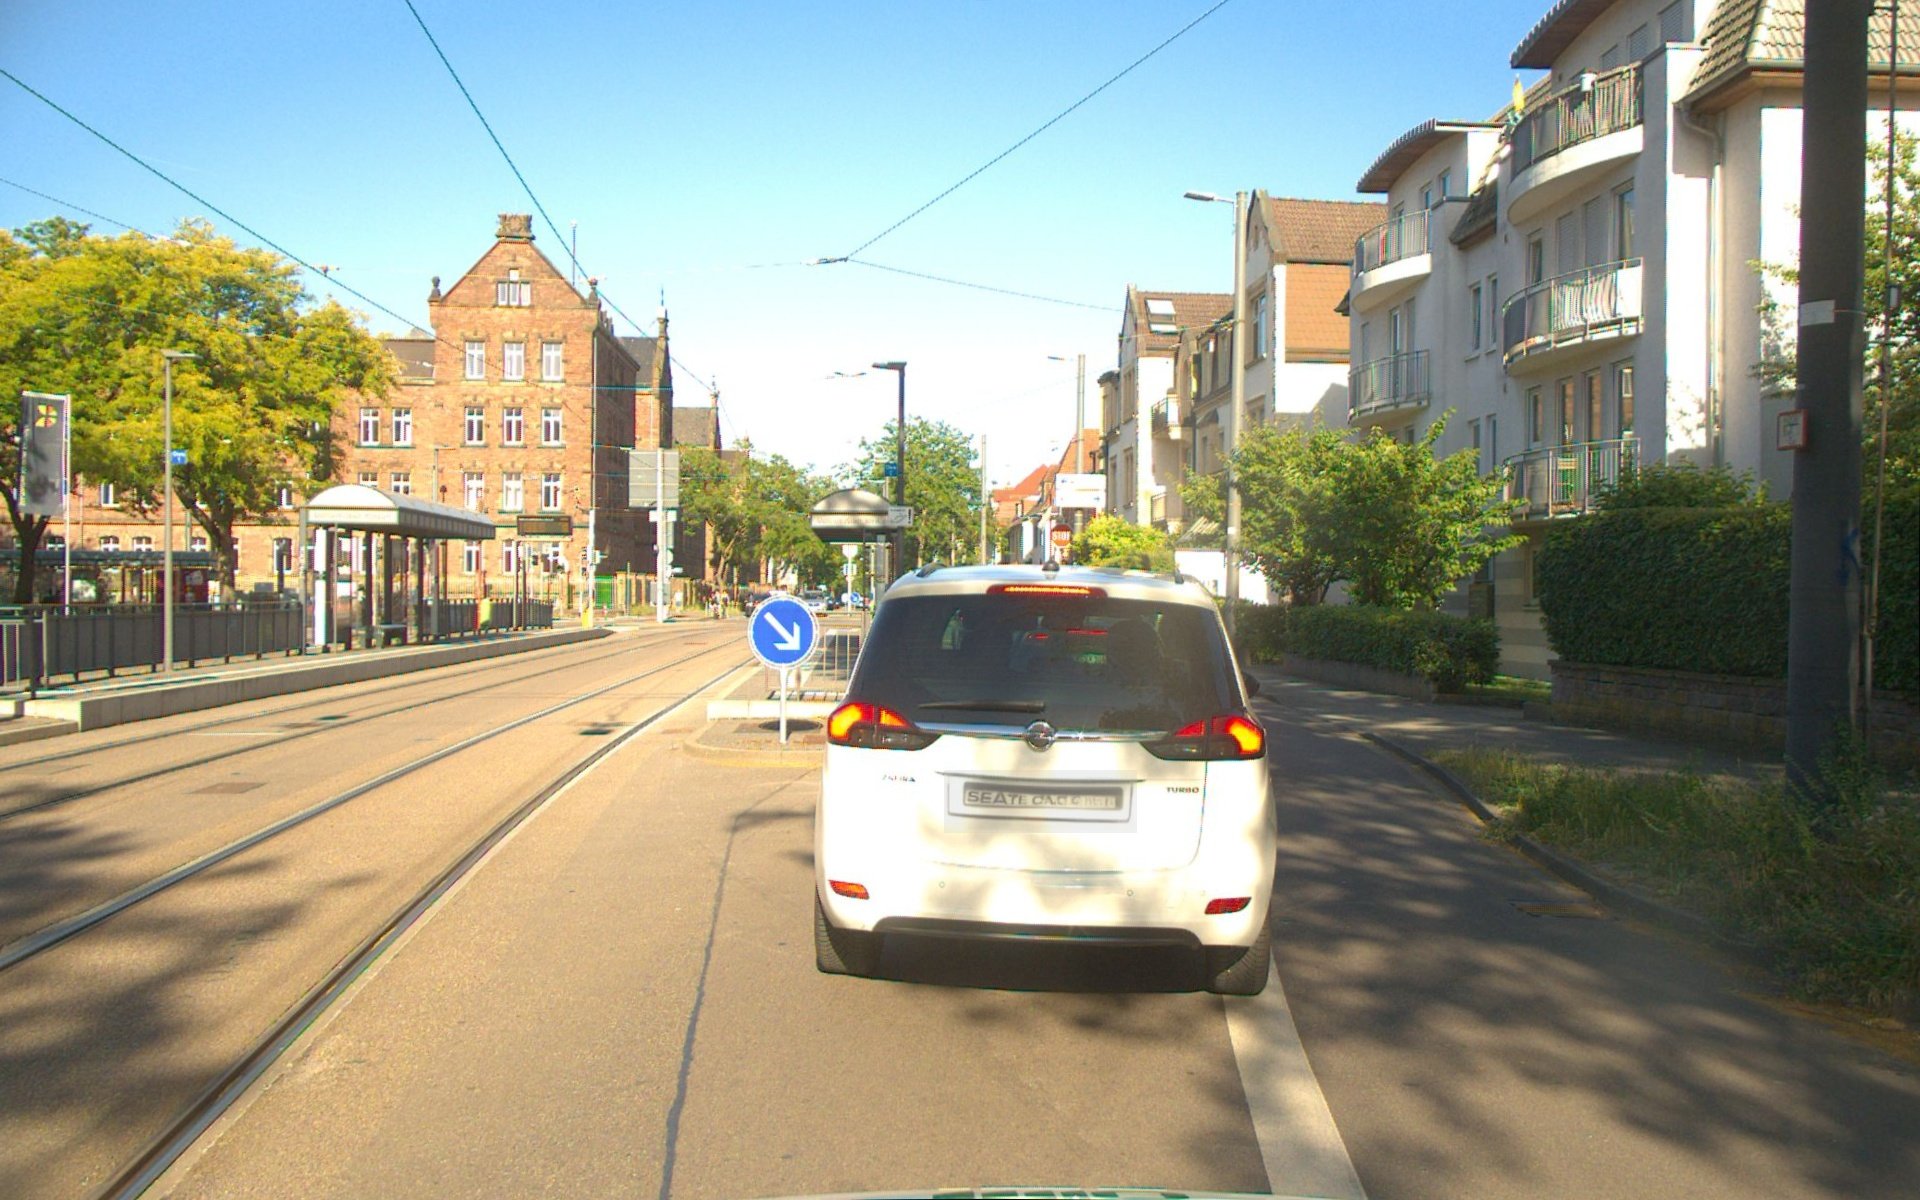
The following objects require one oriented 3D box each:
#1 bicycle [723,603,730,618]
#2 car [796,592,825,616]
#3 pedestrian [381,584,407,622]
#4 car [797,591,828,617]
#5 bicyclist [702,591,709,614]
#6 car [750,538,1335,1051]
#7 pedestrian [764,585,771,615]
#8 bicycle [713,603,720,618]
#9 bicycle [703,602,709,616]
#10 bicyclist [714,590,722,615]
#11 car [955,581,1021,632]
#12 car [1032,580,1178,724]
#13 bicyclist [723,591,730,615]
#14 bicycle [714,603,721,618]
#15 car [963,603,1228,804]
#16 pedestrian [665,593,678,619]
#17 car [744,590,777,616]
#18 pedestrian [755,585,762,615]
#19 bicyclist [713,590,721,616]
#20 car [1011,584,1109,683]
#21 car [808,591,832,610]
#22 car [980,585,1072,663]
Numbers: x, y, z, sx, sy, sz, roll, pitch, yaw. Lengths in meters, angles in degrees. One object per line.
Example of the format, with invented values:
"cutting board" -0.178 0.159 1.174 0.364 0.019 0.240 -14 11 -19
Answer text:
"bicycle" -15.390 0.668 108.916 0.337 0.966 0.996 1 0 -4
"car" -10.348 0.257 114.252 1.955 1.657 3.996 0 0 -5
"pedestrian" -24.603 0.119 71.891 0.786 1.616 0.934 1 0 -3
"car" -9.544 0.241 107.158 1.955 1.657 3.996 0 0 -5
"bicyclist" -17.646 0.178 114.821 0.435 1.580 0.495 0 0 -4
"car" 0.460 0.651 7.595 1.951 1.673 3.996 1 0 6
"pedestrian" -13.068 0.012 112.042 0.435 2.049 0.495 0 0 -4
"bicycle" -15.160 0.647 102.838 0.337 0.966 1.159 1 0 -4
"bicycle" -17.652 0.654 114.857 0.337 0.966 0.996 1 0 -4
"bicyclist" -15.571 0.180 106.322 0.435 1.580 0.495 0 0 -4
"car" 0.832 0.192 51.766 1.953 1.529 3.999 0 0 -1
"car" 1.744 0.587 20.842 1.603 1.629 3.855 0 0 1
"bicyclist" -15.380 0.194 108.909 0.435 1.580 0.495 0 0 -4
"bicycle" -15.608 0.654 106.363 0.337 0.966 0.996 1 0 -4
"car" 1.034 0.750 13.983 1.912 1.422 4.001 0 0 1
"pedestrian" -19.325 0.412 110.851 0.720 1.744 0.706 1 -1 -4
"car" -12.854 0.191 106.885 1.955 1.657 3.996 0 0 -5
"pedestrian" -13.644 0.001 111.767 0.435 2.049 0.495 0 0 -4
"bicyclist" -15.151 0.172 103.046 0.435 1.580 0.742 0 0 -4
"car" 1.717 0.552 29.270 1.603 1.629 3.855 0 0 1
"car" -12.802 0.059 151.246 1.953 1.657 3.998 0 0 -3
"car" 1.382 0.494 36.189 1.793 1.607 4.009 0 0 -1
